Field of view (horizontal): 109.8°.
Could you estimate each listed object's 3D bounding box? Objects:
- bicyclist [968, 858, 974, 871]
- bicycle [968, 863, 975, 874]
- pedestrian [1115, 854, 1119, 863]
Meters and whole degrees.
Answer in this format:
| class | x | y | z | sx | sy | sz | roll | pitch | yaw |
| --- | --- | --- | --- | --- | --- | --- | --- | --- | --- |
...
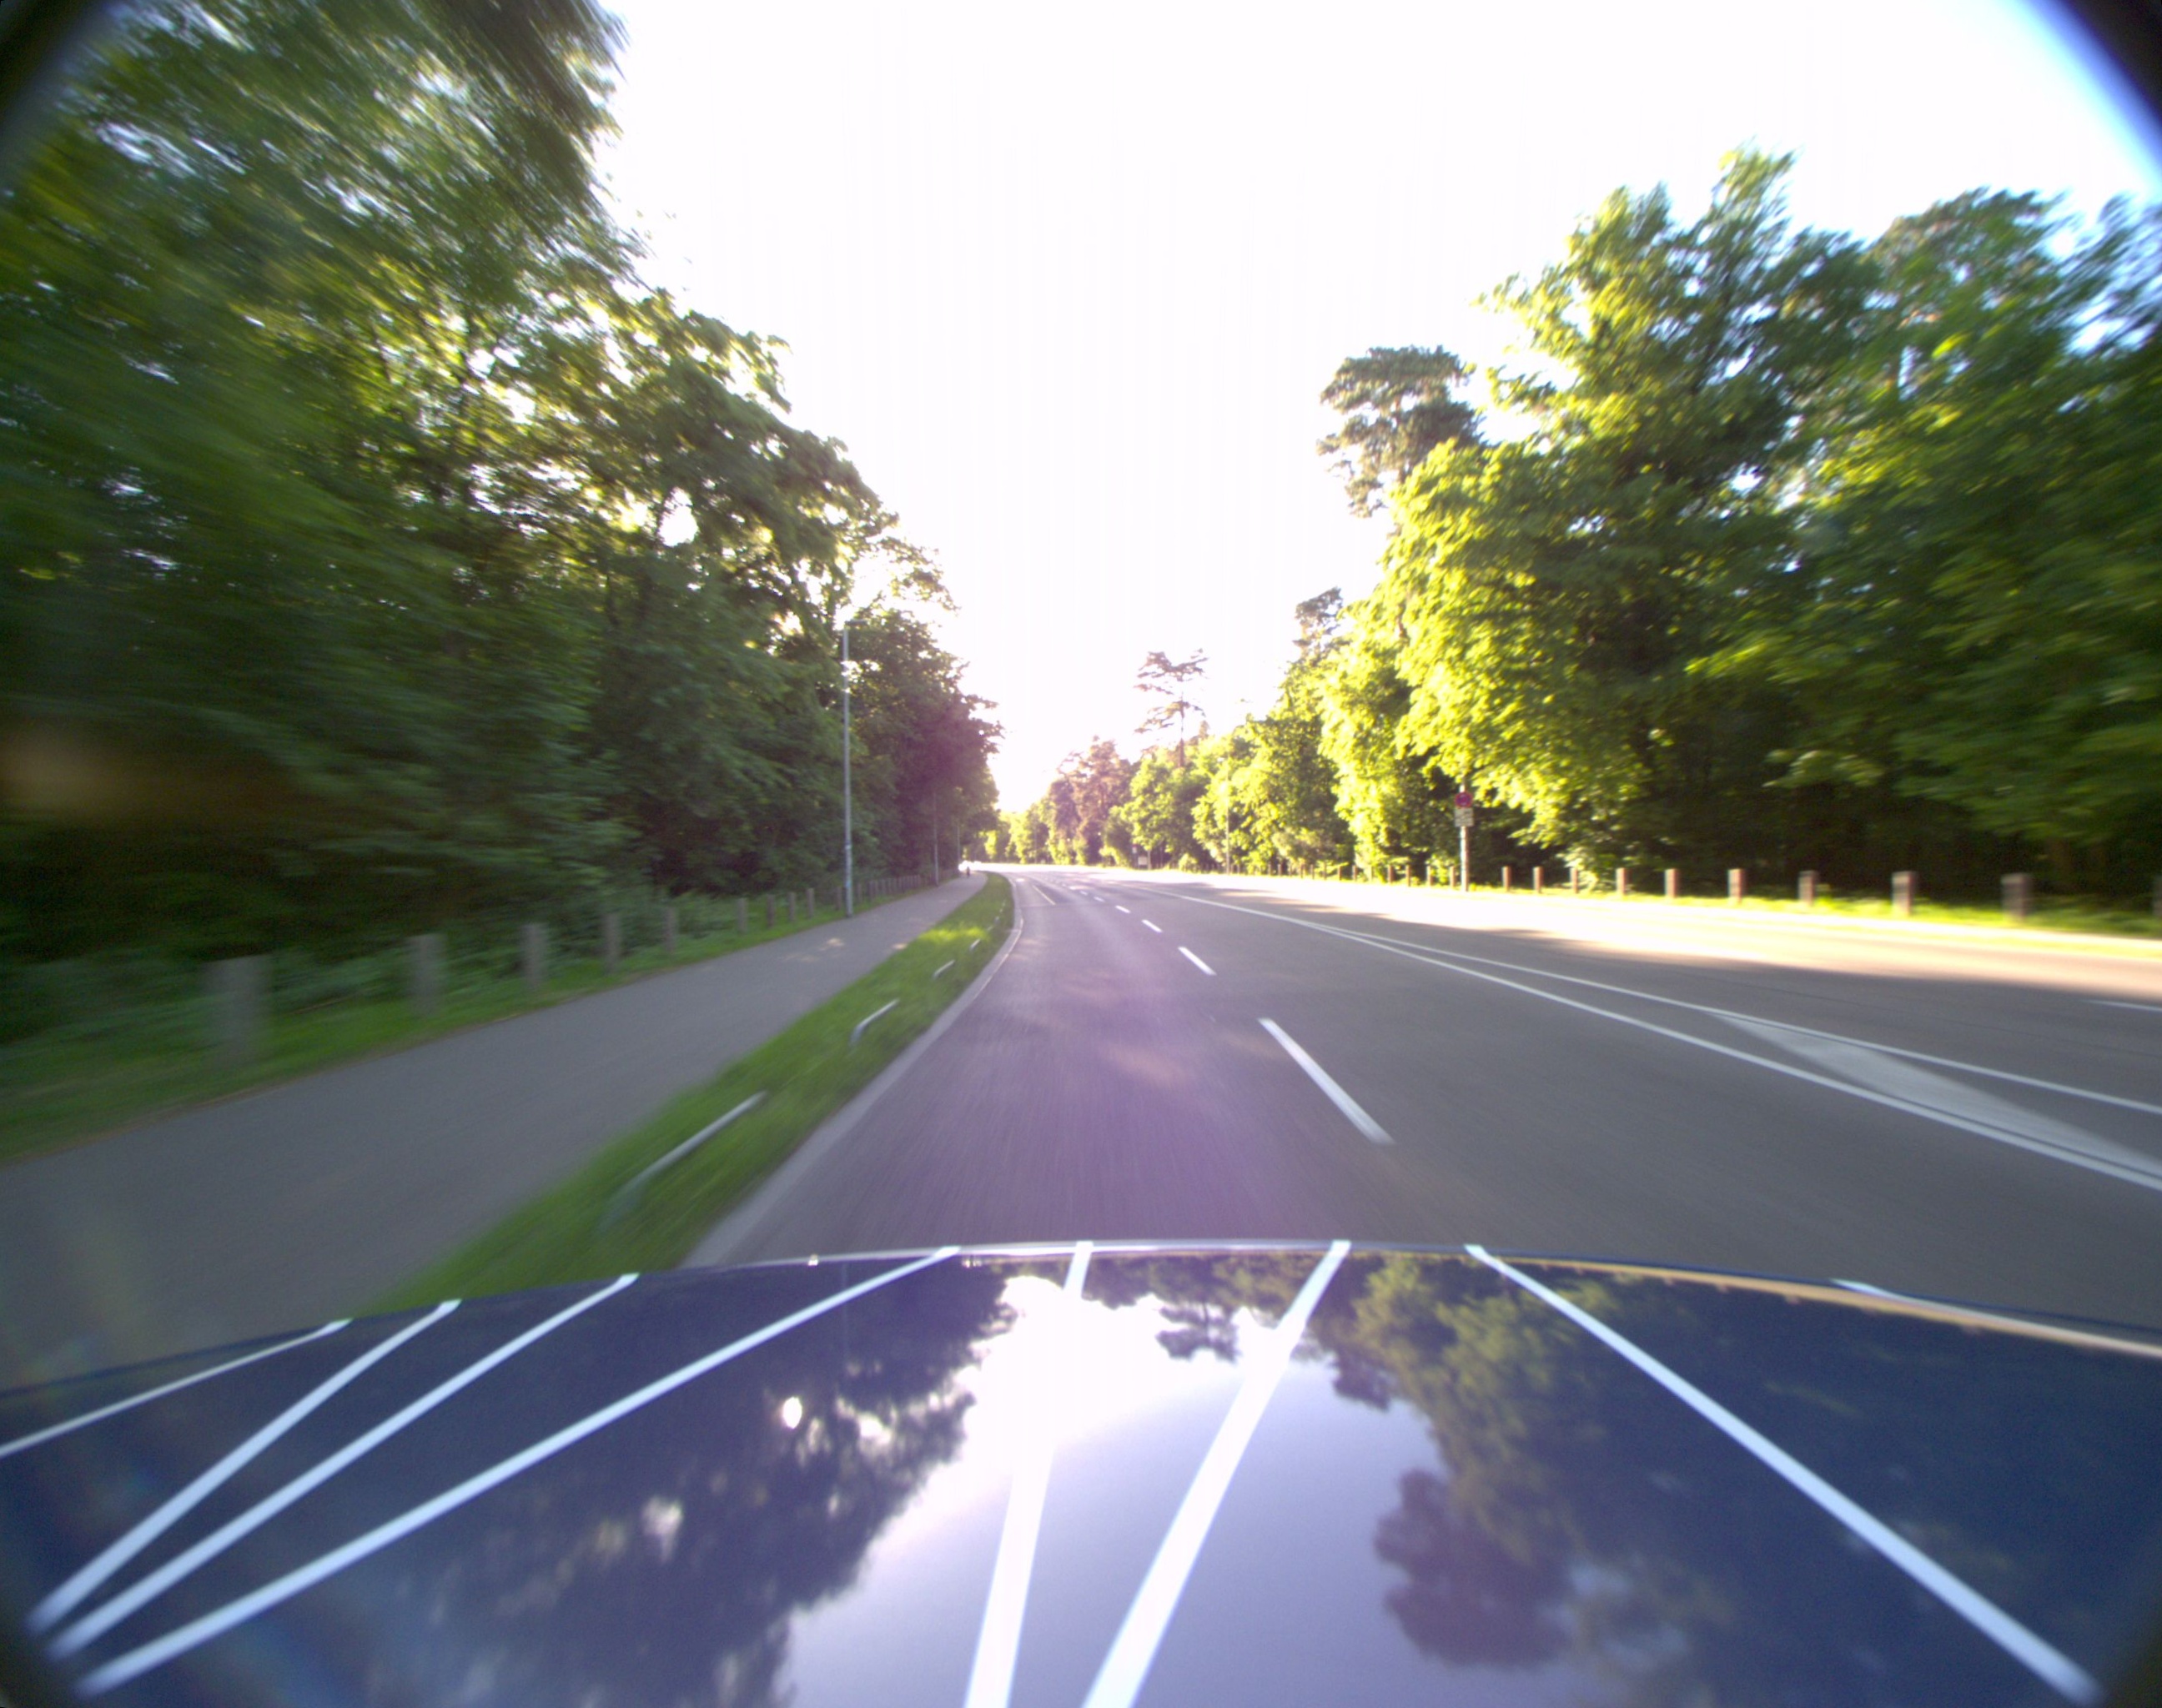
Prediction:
| class | x | y | z | sx | sy | sz | roll | pitch | yaw |
| --- | --- | --- | --- | --- | --- | --- | --- | --- | --- |
| bicyclist | -11.085 | 1.055 | 76.718 | 0.514 | 1.260 | 0.497 | -2 | 1 | -7 |
| bicycle | -11.062 | 1.457 | 76.956 | 0.608 | 1.051 | 2.873 | -2 | 0 | -7 |
| pedestrian | 5.434 | 0.670 | 115.550 | 0.472 | 1.307 | 0.512 | -2 | 1 | -7 |
